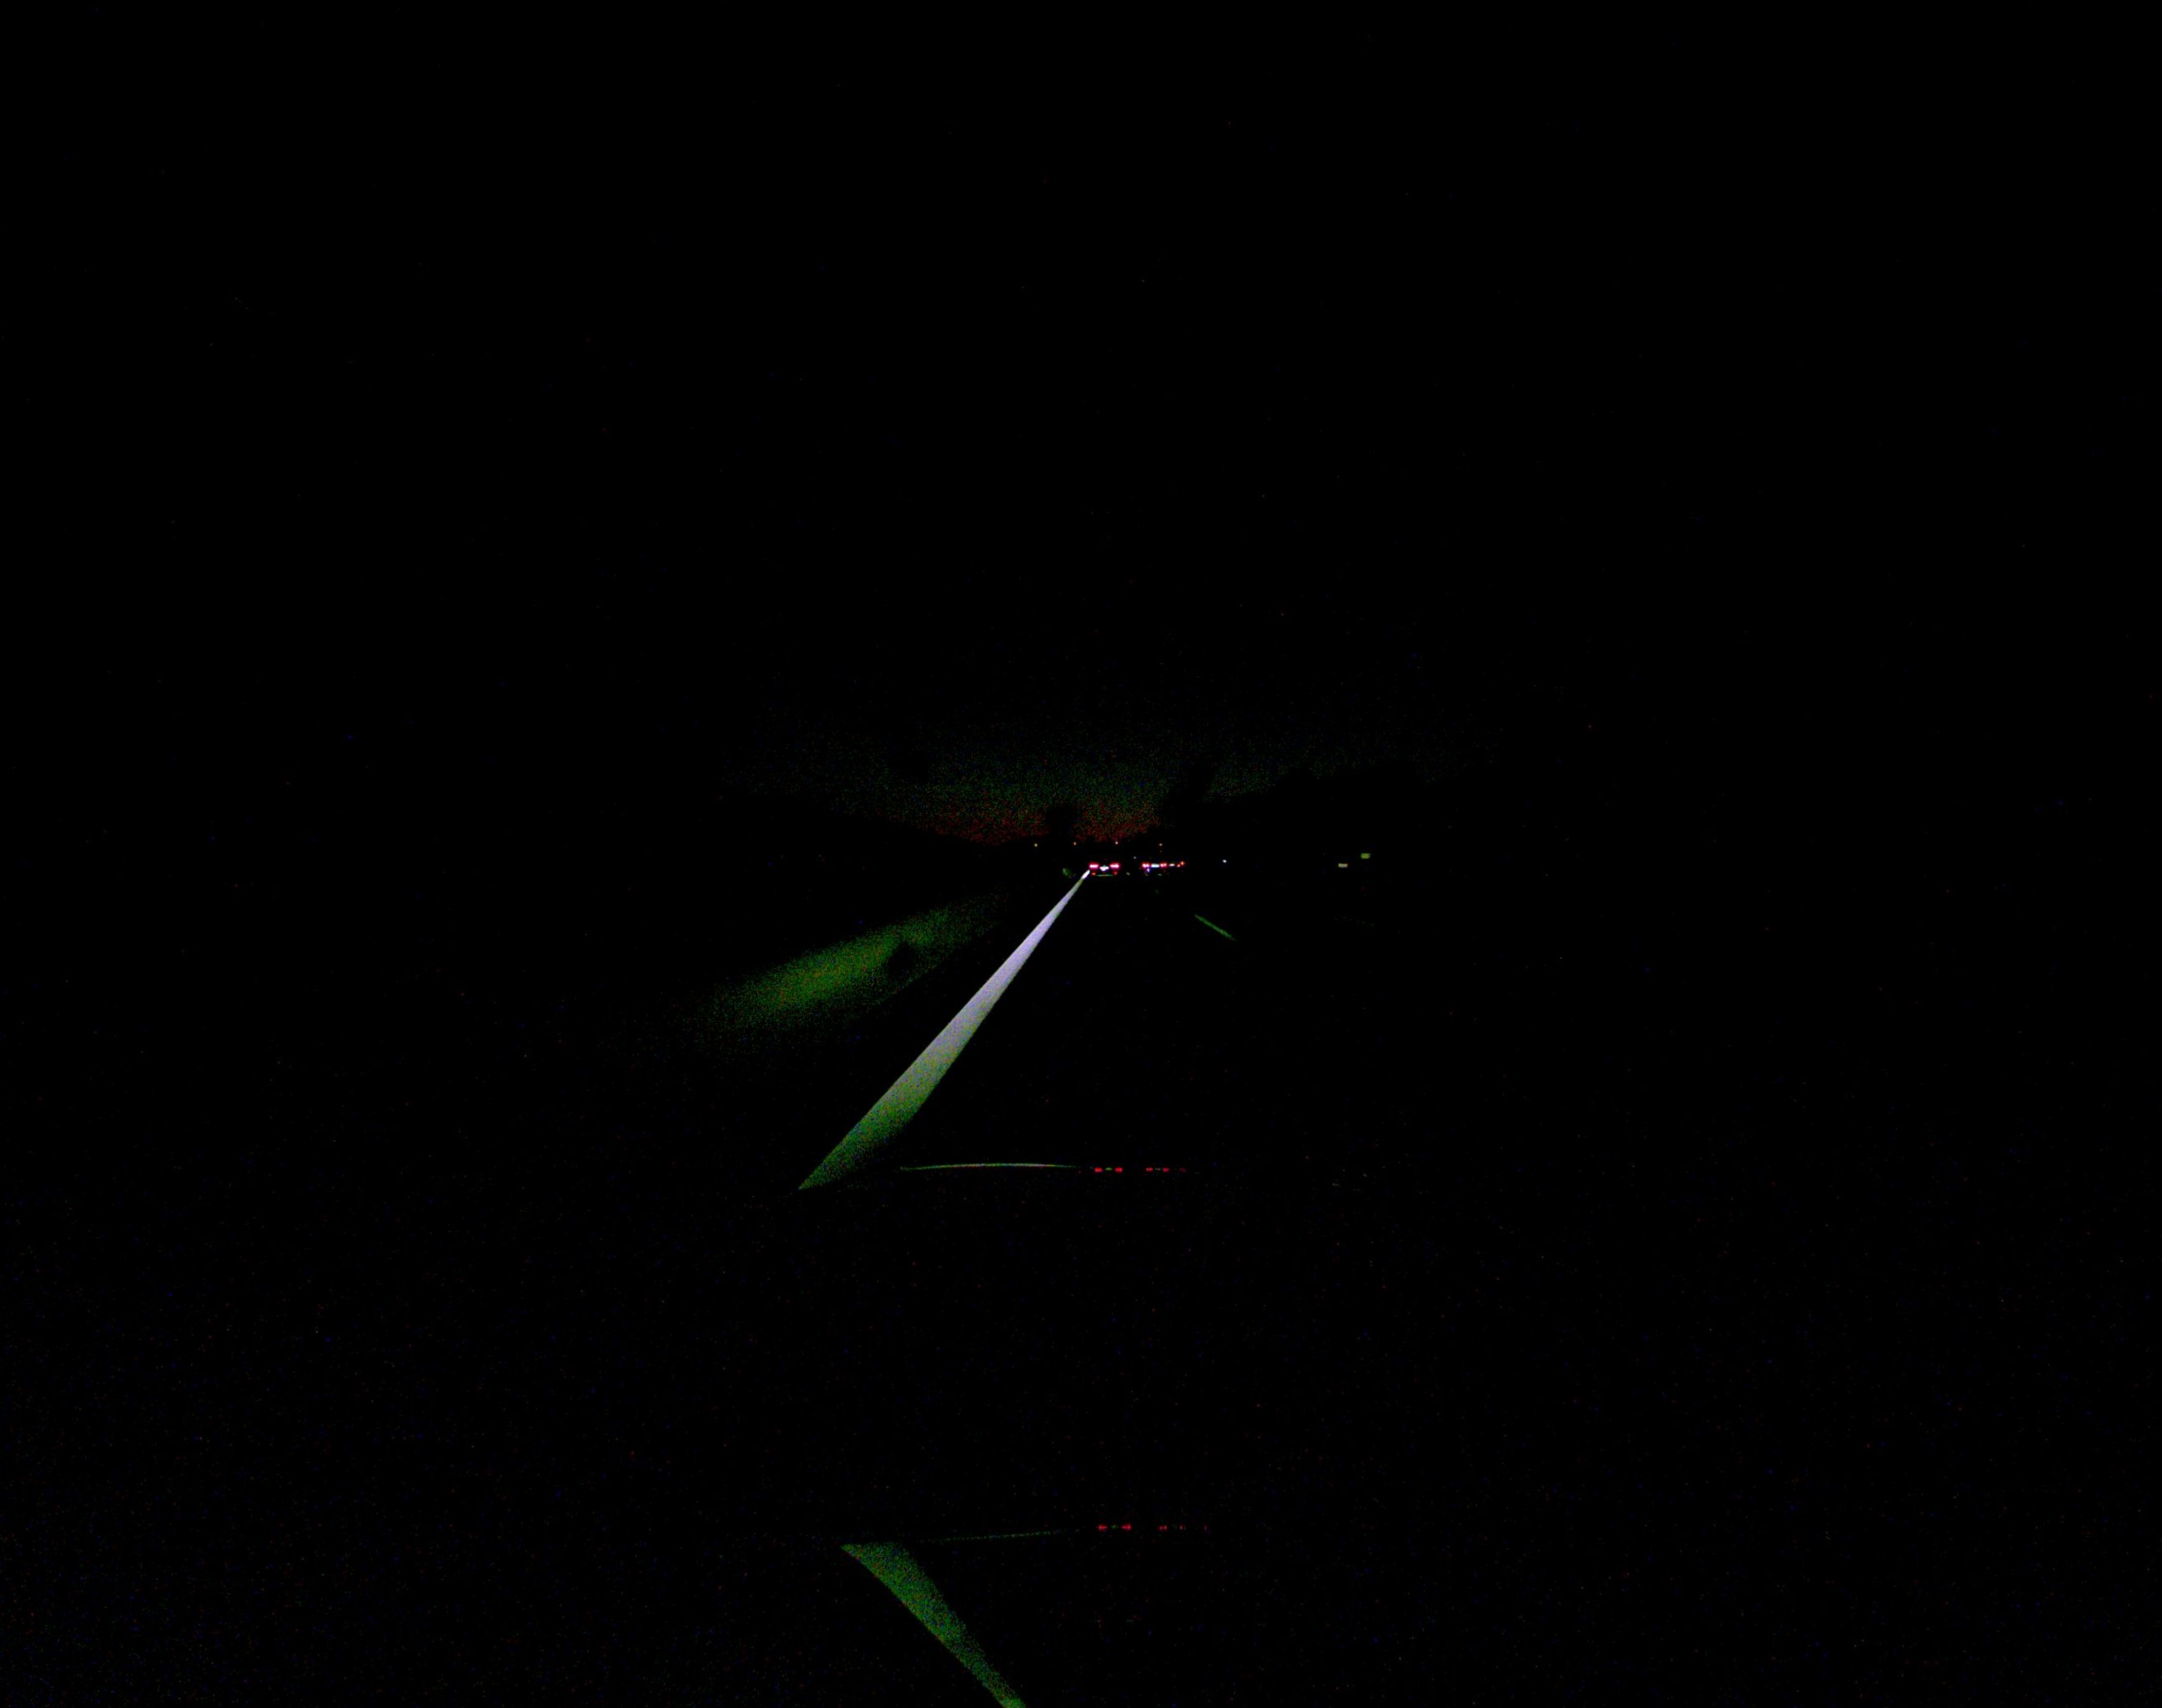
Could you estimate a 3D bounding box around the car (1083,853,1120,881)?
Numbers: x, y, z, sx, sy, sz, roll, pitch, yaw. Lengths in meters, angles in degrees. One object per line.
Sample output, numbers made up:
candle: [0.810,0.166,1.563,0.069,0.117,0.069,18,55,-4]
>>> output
car: [1.195,0.778,49.390,2.099,1.618,4.204,1,0,0]

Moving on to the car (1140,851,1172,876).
car: [5.332,0.646,58.513,1.905,1.730,3.999,0,0,0]

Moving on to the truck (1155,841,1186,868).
truck: [10.332,0.039,94.609,2.594,2.875,7.486,4,0,1]
